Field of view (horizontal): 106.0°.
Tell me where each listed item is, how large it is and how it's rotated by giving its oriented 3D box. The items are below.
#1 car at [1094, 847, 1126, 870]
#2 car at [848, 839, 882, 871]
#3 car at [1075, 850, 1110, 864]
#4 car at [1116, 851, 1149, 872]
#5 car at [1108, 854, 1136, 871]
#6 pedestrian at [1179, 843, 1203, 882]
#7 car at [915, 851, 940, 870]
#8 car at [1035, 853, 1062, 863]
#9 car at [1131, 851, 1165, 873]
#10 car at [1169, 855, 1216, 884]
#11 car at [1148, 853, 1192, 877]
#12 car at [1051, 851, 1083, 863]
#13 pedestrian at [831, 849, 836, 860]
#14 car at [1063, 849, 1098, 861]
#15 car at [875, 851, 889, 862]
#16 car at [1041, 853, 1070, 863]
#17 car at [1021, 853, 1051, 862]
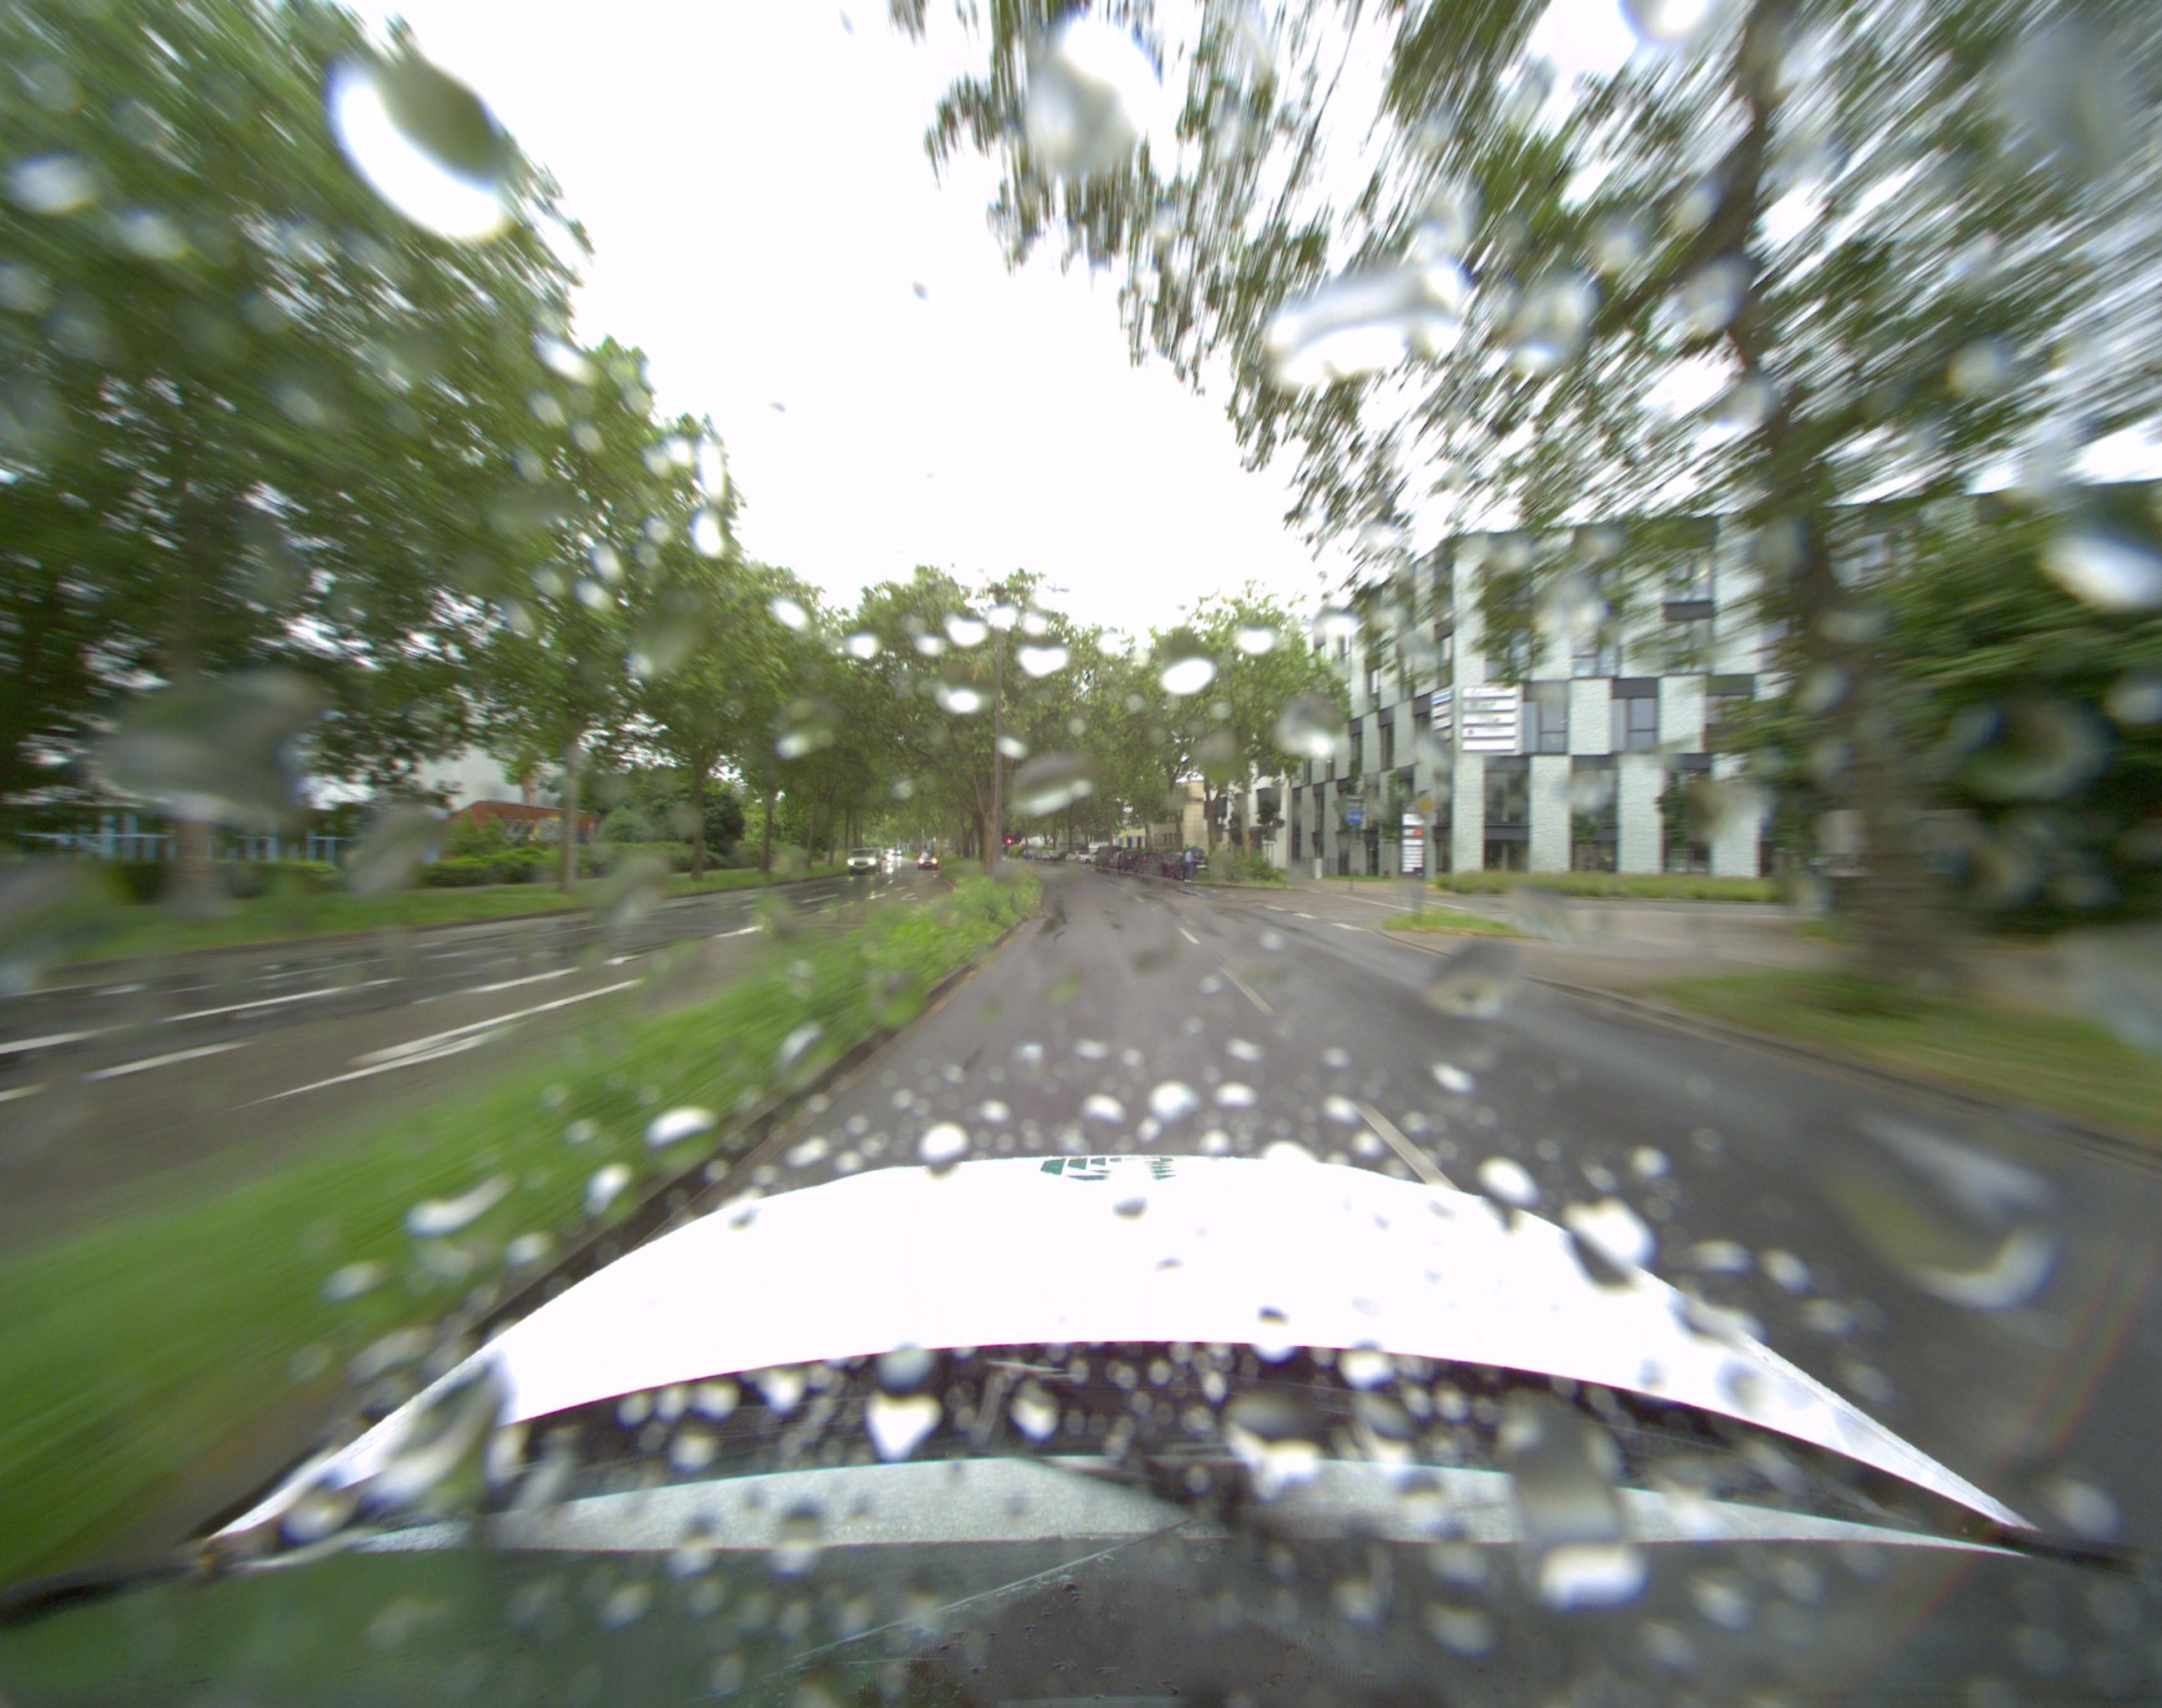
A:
[{"bbox_3d":[2.679,0.421,76.003,2.119,2.028,5.513,0,0,-7],"label":"car"},{"bbox_3d":[-16.015,0.059,60.544,2.030,2.226,5.414,0,0,-11],"label":"car"},{"bbox_3d":[1.282,0.308,93.869,3.654,1.504,1.734,0,1,-27],"label":"car"},{"bbox_3d":[3.998,0.590,63.939,1.742,1.566,4.360,0,0,-7],"label":"car"},{"bbox_3d":[3.523,0.713,70.738,1.742,1.469,4.295,0,0,-7],"label":"car"},{"bbox_3d":[5.612,0.429,41.638,0.904,2.013,0.823,1,0,-41],"label":"pedestrian"},{"bbox_3d":[-14.116,0.569,74.891,2.032,1.736,4.931,0,0,-13],"label":"car"},{"bbox_3d":[-4.710,0.581,117.557,3.713,1.416,1.754,0,0,-43],"label":"car"},{"bbox_3d":[4.642,0.539,56.951,1.740,1.476,4.076,0,0,-4],"label":"car"},{"bbox_3d":[6.017,0.785,44.393,1.739,1.428,4.856,-2,0,-2],"label":"car"},{"bbox_3d":[5.499,0.661,50.919,1.741,1.428,5.093,0,0,-6],"label":"car"},{"bbox_3d":[-1.846,0.424,107.234,4.061,1.539,1.727,0,0,-44],"label":"car"},{"bbox_3d":[-37.278,0.030,122.664,0.833,1.674,0.894,0,0,-18],"label":"pedestrian"},{"bbox_3d":[-0.017,0.122,98.112,4.060,1.428,1.728,0,0,-43],"label":"car"},{"bbox_3d":[-28.768,0.397,117.589,1.747,1.561,4.343,0,0,-17],"label":"car"},{"bbox_3d":[-3.477,0.568,112.134,3.711,1.416,1.729,0,0,-39],"label":"car"},{"bbox_3d":[-6.984,0.546,126.190,4.518,1.459,1.729,0,0,-39],"label":"car"}]
